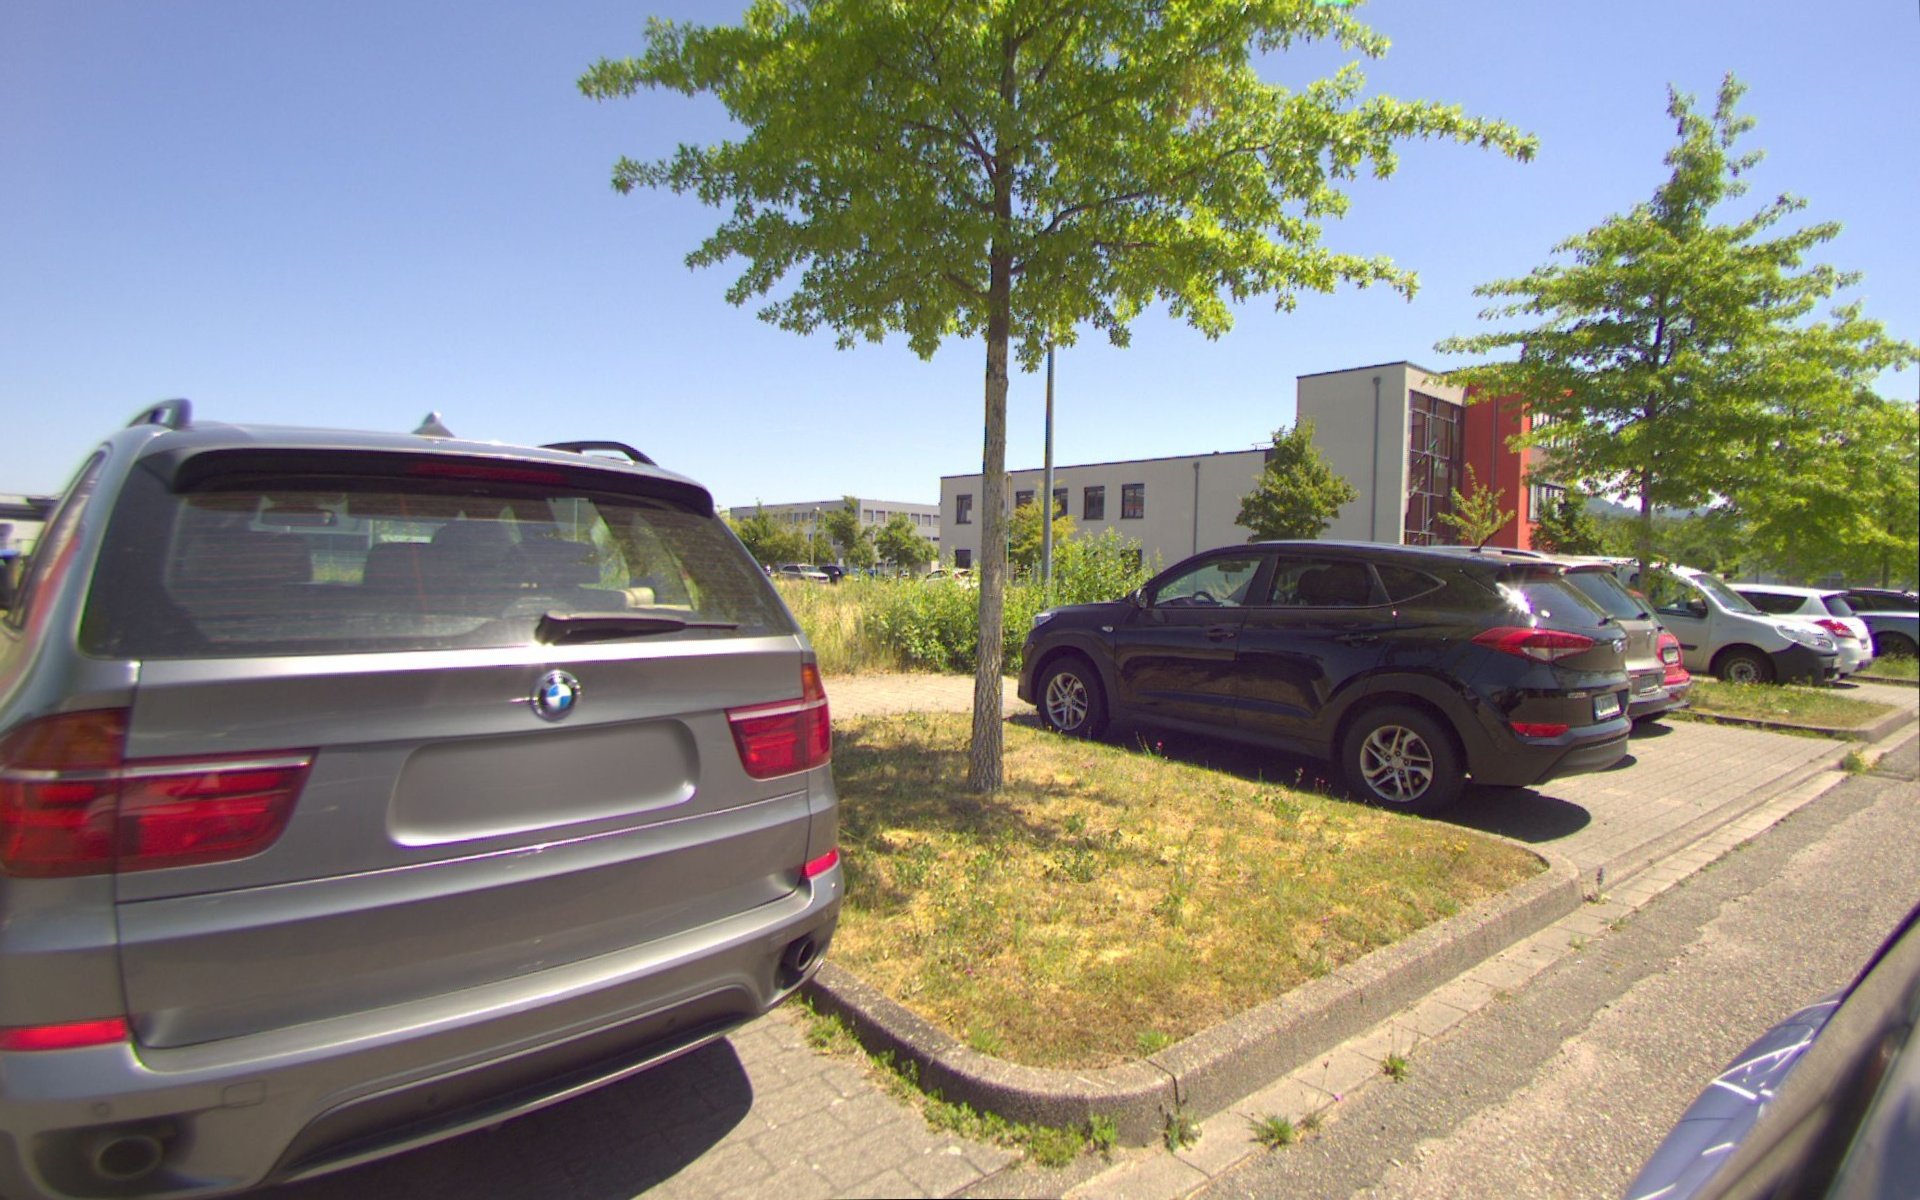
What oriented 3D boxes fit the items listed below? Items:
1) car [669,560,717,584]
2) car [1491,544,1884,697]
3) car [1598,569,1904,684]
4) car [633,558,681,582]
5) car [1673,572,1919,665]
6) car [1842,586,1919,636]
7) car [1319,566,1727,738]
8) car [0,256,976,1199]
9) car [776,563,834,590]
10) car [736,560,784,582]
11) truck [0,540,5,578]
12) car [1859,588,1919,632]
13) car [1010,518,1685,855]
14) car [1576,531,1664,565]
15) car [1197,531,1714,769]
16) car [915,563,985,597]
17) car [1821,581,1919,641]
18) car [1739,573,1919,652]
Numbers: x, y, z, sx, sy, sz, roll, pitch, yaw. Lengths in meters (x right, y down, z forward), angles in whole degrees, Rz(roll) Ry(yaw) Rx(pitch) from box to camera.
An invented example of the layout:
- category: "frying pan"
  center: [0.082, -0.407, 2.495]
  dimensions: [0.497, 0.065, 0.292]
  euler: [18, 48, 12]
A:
- category: "car"
  center: [-18.523, -1.980, 70.107]
  dimensions: [1.689, 1.528, 3.996]
  euler: [0, 2, -40]
- category: "car"
  center: [10.672, 0.167, 15.165]
  dimensions: [1.763, 1.852, 4.415]
  euler: [0, 3, -39]
- category: "car"
  center: [12.872, 0.343, 16.648]
  dimensions: [1.646, 1.521, 3.641]
  euler: [0, 3, -39]
- category: "car"
  center: [-20.601, -2.050, 68.752]
  dimensions: [1.689, 1.470, 3.996]
  euler: [0, 2, -40]
- category: "car"
  center: [17.697, 0.332, 20.753]
  dimensions: [1.882, 1.580, 4.723]
  euler: [0, 4, -43]
- category: "car"
  center: [34.454, 0.429, 36.175]
  dimensions: [1.741, 1.671, 4.122]
  euler: [1, 2, -38]
- category: "car"
  center: [5.986, 0.426, 11.039]
  dimensions: [1.724, 1.434, 3.466]
  euler: [0, 3, -40]
- category: "car"
  center: [-2.194, 0.299, 3.606]
  dimensions: [1.959, 1.790, 4.457]
  euler: [0, 3, -42]
- category: "car"
  center: [-9.779, -1.505, 63.743]
  dimensions: [1.689, 1.528, 3.995]
  euler: [0, 2, -41]
- category: "car"
  center: [-14.605, -2.117, 73.769]
  dimensions: [1.689, 1.528, 3.996]
  euler: [0, 2, -40]
- category: "truck"
  center: [-53.133, -2.273, 54.677]
  dimensions: [1.965, 2.038, 4.351]
  euler: [0, 2, -41]
- category: "car"
  center: [36.275, 0.481, 37.540]
  dimensions: [1.695, 1.508, 4.011]
  euler: [2, 4, -36]
- category: "car"
  center: [2.463, 0.317, 7.324]
  dimensions: [1.751, 1.717, 4.183]
  euler: [0, 3, -41]
- category: "car"
  center: [38.953, -3.037, 59.746]
  dimensions: [1.778, 1.798, 3.995]
  euler: [3, -1, -40]
- category: "car"
  center: [4.359, 0.265, 9.401]
  dimensions: [1.750, 1.698, 3.885]
  euler: [0, 3, -40]
- category: "car"
  center: [-0.503, -0.988, 49.265]
  dimensions: [1.689, 1.528, 3.331]
  euler: [0, 2, -40]
- category: "car"
  center: [26.825, 0.341, 28.275]
  dimensions: [1.745, 1.572, 3.848]
  euler: [2, 2, -35]
- category: "car"
  center: [21.561, 0.280, 24.404]
  dimensions: [1.663, 1.645, 4.058]
  euler: [1, 3, -39]
